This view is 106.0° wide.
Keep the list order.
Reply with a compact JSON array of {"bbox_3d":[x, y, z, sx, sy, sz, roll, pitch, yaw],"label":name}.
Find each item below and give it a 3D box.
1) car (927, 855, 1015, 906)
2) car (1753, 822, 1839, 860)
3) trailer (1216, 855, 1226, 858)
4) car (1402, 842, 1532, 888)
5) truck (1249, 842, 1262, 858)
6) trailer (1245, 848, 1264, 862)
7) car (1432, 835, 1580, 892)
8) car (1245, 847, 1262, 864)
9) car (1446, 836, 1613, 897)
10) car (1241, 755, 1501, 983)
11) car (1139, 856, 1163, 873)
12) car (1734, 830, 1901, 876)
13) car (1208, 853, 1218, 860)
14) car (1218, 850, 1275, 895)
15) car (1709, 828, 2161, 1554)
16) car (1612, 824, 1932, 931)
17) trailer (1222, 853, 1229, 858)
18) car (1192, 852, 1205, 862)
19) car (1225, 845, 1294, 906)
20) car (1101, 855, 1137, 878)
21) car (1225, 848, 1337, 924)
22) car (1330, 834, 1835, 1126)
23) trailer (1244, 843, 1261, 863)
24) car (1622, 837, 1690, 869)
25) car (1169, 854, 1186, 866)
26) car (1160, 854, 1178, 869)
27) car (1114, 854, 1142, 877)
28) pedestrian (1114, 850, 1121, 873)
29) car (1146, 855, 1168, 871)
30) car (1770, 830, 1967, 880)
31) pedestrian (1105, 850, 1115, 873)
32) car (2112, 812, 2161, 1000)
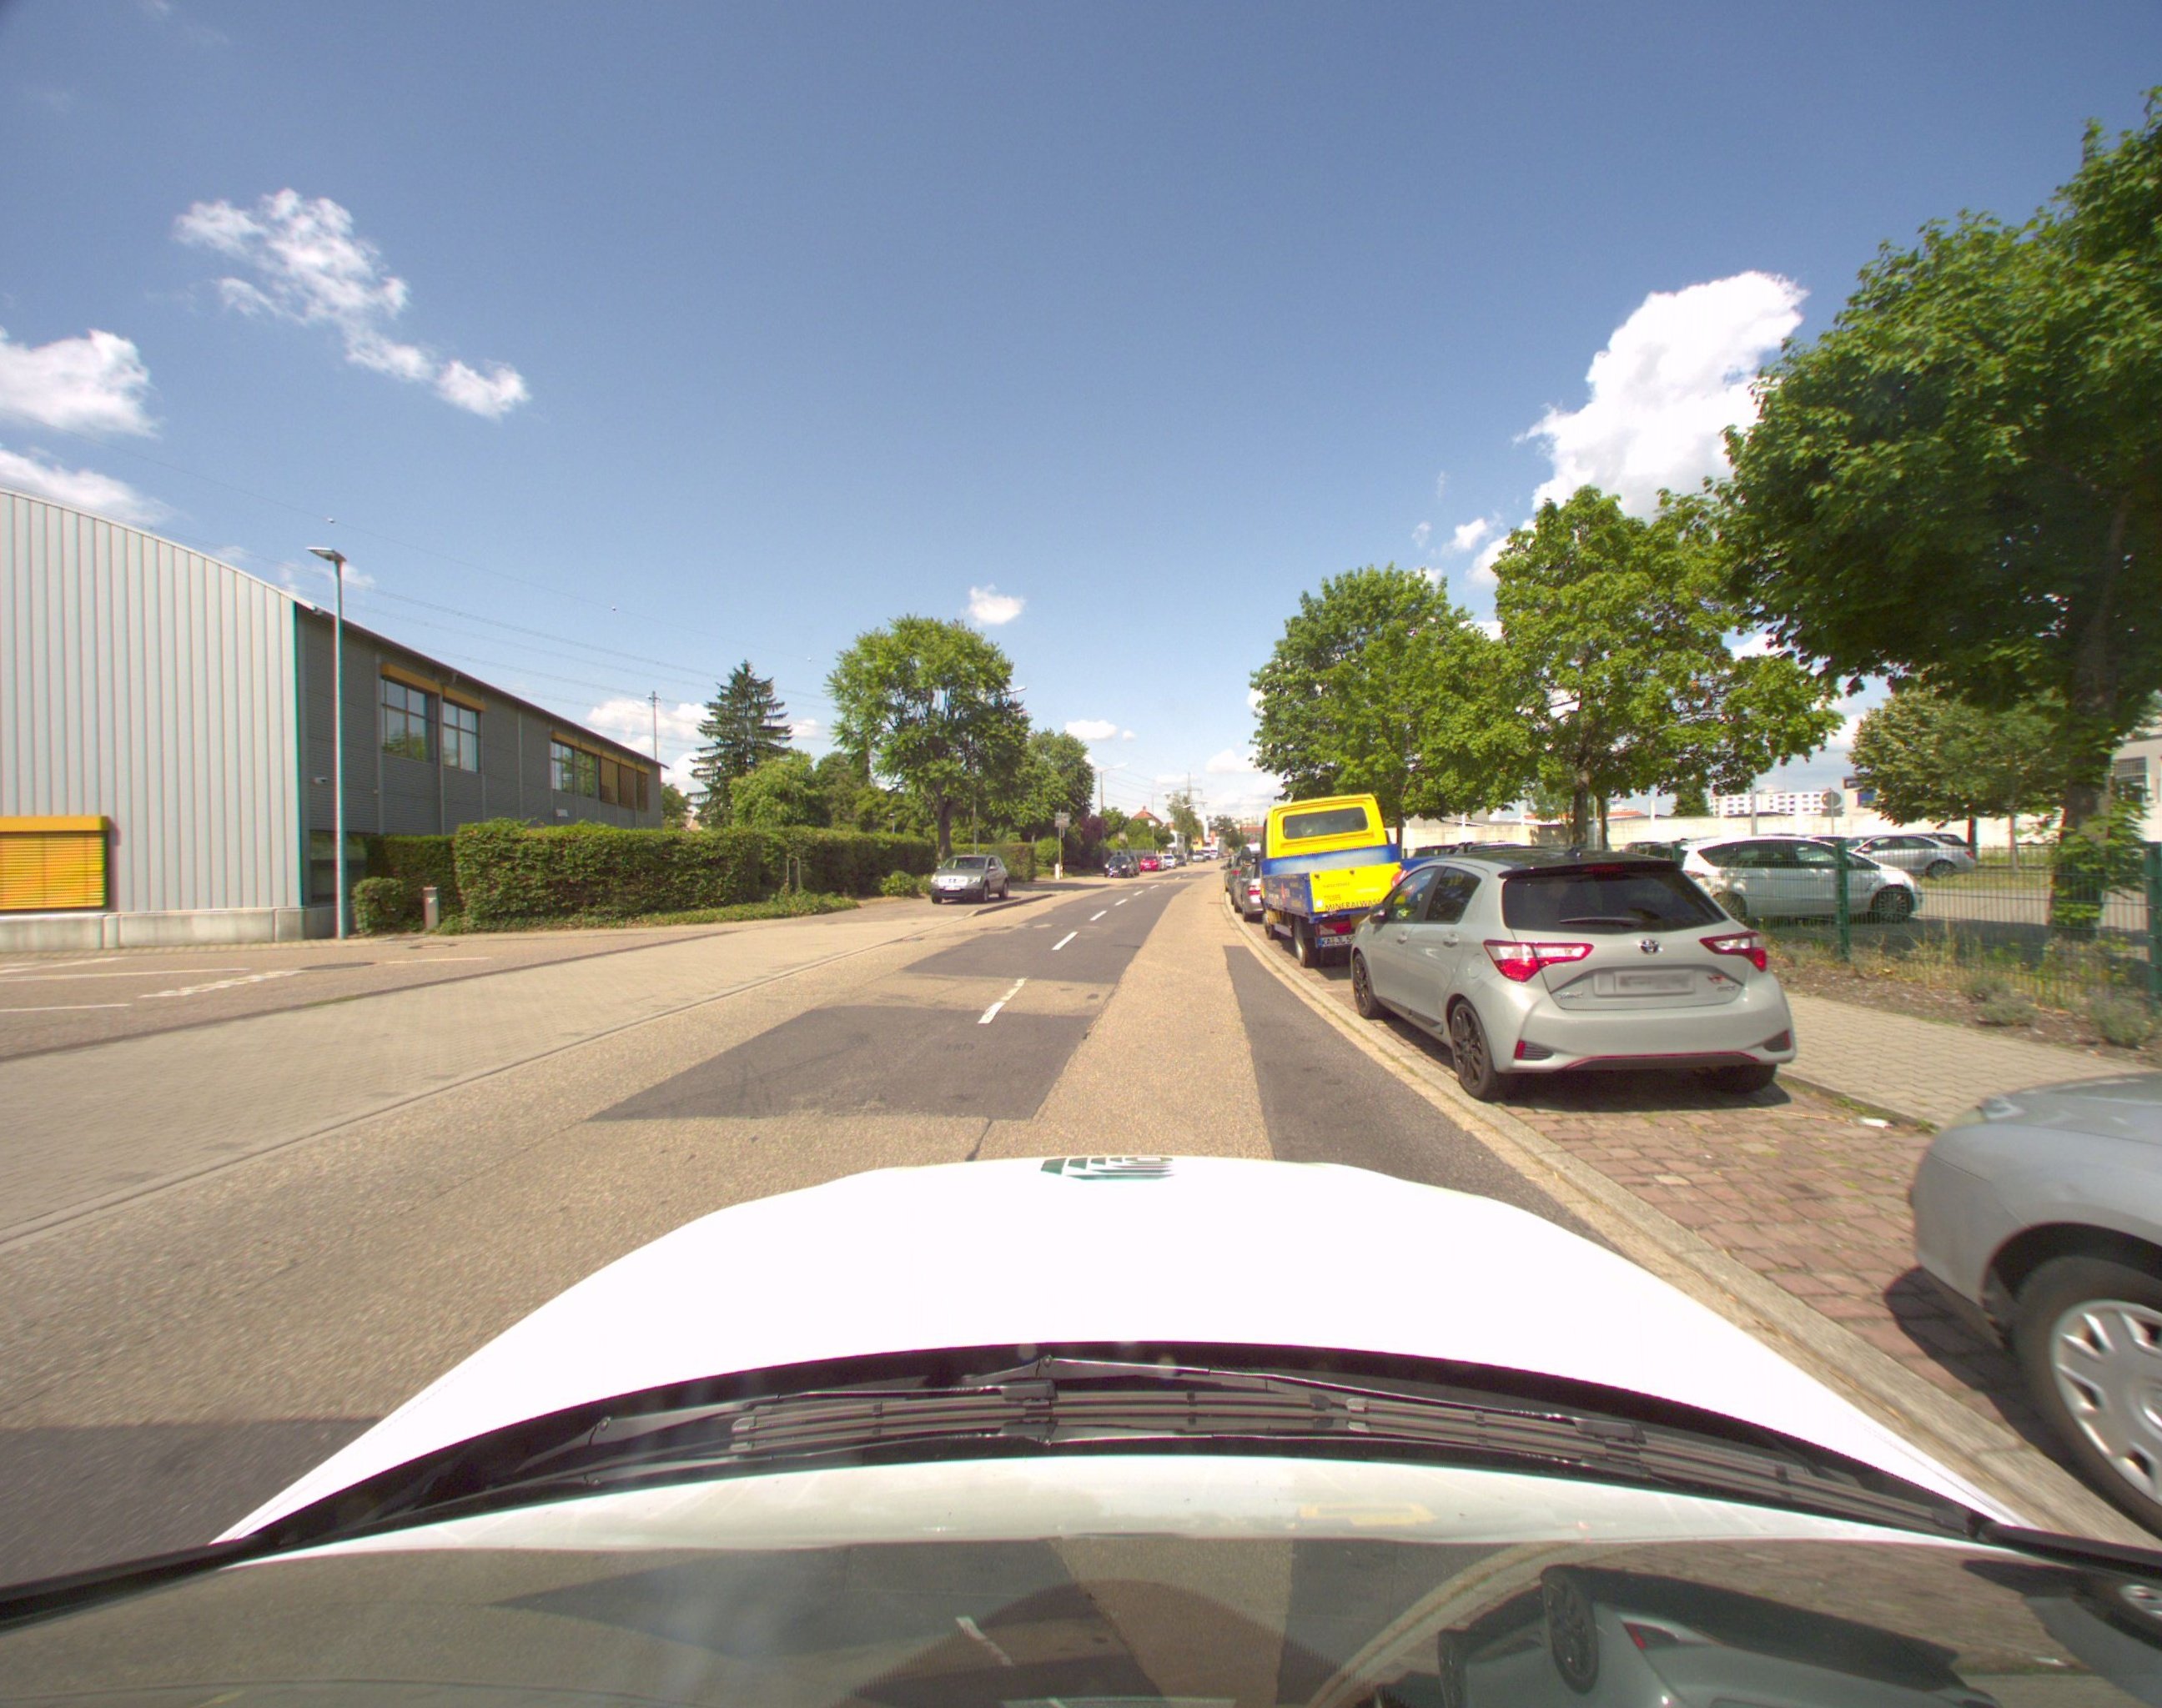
[{"bbox_3d":[-3.609,0.839,27.493,1.747,1.574,4.488,-1,-1,8],"label":"car"},{"bbox_3d":[32.316,-0.543,36.942,1.719,1.549,4.022,-2,-1,23],"label":"car"},{"bbox_3d":[40.084,0.641,233.199,2.347,0.893,5.587,0,0,12],"label":"trailer"},{"bbox_3d":[14.860,0.419,31.582,4.181,1.593,1.916,-2,-1,12],"label":"car"},{"bbox_3d":[39.277,-0.802,183.494,2.442,3.293,6.841,-7,-2,13],"label":"truck"},{"bbox_3d":[19.863,0.083,93.352,1.740,1.417,4.558,-5,-1,7],"label":"trailer"},{"bbox_3d":[13.628,0.316,26.355,3.849,1.637,1.916,-2,-1,12],"label":"car"},{"bbox_3d":[21.975,0.217,103.540,1.980,2.014,5.668,-2,-1,12],"label":"car"},{"bbox_3d":[12.962,0.368,23.802,3.849,1.593,1.916,-2,-1,12],"label":"car"},{"bbox_3d":[3.896,0.200,12.474,2.146,2.465,6.651,-3,-1,6],"label":"car"},{"bbox_3d":[6.311,0.964,73.222,1.655,1.467,3.757,0,0,13],"label":"car"},{"bbox_3d":[25.041,-0.025,27.863,3.726,1.396,2.022,-2,0,15],"label":"car"},{"bbox_3d":[28.559,0.571,176.536,1.783,1.397,4.518,0,0,13],"label":"car"},{"bbox_3d":[6.347,0.700,31.548,1.691,1.486,3.814,-5,-1,6],"label":"car"},{"bbox_3d":[3.164,0.676,0.534,1.827,1.492,4.654,-3,0,-1],"label":"car"},{"bbox_3d":[12.422,0.405,14.836,4.303,1.621,1.763,-3,-1,0],"label":"car"},{"bbox_3d":[45.150,0.506,253.690,1.980,1.556,4.268,-1,0,12],"label":"trailer"},{"bbox_3d":[19.539,0.471,135.000,1.779,1.719,4.767,1,0,12],"label":"car"},{"bbox_3d":[5.590,0.633,25.965,1.821,1.608,4.581,-5,-1,10],"label":"car"},{"bbox_3d":[2.700,0.836,56.679,1.833,1.508,4.013,1,0,12],"label":"car"},{"bbox_3d":[4.685,0.692,19.819,1.866,1.477,5.176,-4,-1,6],"label":"car"},{"bbox_3d":[3.274,0.697,6.339,1.678,1.495,3.953,-3,-1,4],"label":"car"},{"bbox_3d":[25.745,-0.137,122.312,2.190,2.737,6.241,-5,-1,12],"label":"trailer"},{"bbox_3d":[28.416,-0.036,40.366,1.976,1.468,4.292,0,-1,24],"label":"car"},{"bbox_3d":[11.664,0.674,98.254,1.793,1.418,4.510,0,0,11],"label":"car"},{"bbox_3d":[9.372,0.787,86.777,1.610,1.522,4.186,-1,0,9],"label":"car"},{"bbox_3d":[3.553,0.840,61.380,1.640,1.645,3.282,1,0,10],"label":"car"},{"bbox_3d":[3.014,0.630,66.961,0.447,1.894,0.680,-2,-1,12],"label":"pedestrian"},{"bbox_3d":[7.268,0.833,77.869,1.634,1.477,4.041,-1,-1,11],"label":"car"},{"bbox_3d":[24.167,0.043,25.175,3.974,1.396,1.851,-2,0,15],"label":"car"},{"bbox_3d":[2.379,0.613,66.772,0.703,1.801,0.919,-2,-1,12],"label":"pedestrian"},{"bbox_3d":[11.767,0.457,6.686,4.312,1.671,1.856,0,-1,-1],"label":"car"}]
